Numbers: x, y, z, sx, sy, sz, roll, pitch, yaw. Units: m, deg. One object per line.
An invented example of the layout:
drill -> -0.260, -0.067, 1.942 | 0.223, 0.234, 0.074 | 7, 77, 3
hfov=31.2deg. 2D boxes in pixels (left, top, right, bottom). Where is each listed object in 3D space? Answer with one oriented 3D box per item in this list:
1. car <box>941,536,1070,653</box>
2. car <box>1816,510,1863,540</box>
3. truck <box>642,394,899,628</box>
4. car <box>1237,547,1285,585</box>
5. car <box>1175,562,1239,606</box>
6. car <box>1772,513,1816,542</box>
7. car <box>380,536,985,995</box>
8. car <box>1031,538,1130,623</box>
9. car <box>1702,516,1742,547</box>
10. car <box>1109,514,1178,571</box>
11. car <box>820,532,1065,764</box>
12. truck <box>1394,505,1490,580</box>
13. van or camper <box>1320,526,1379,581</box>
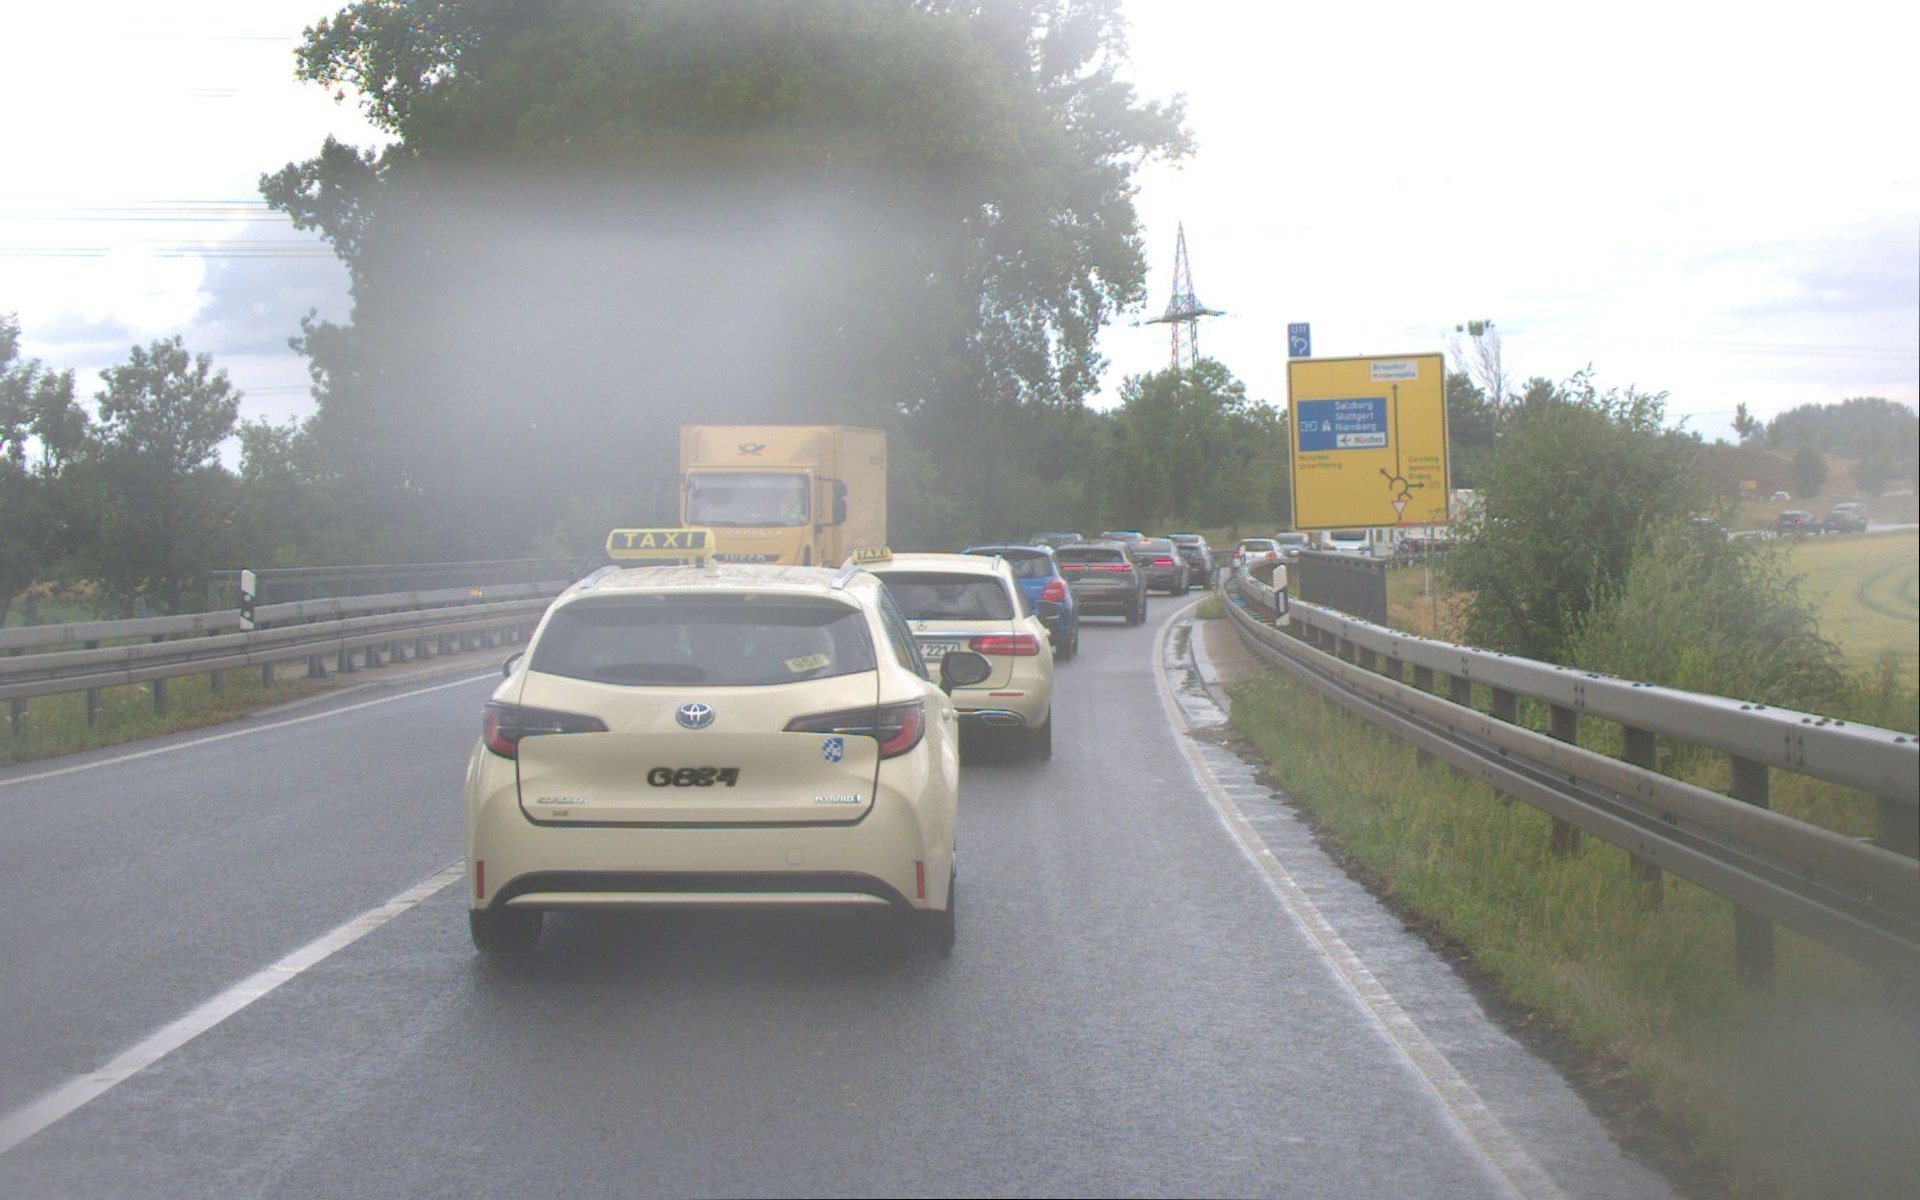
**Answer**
car -> 0.617, -0.091, 44.347 | 1.506, 1.432, 3.355 | 0, 1, 3
car -> 60.517, -5.160, 236.506 | 1.997, 2.007, 3.993 | 1, 0, 31
truck -> -2.959, -1.312, 56.623 | 2.771, 3.418, 9.184 | 1, -1, 6
car -> 10.535, -1.196, 120.221 | 1.483, 1.304, 3.476 | 0, 1, 8
car -> 7.385, -0.489, 102.695 | 1.483, 1.304, 3.475 | 0, 1, 11
car -> 55.808, -4.842, 229.963 | 1.822, 1.831, 3.982 | 1, 0, 30
car -> -0.921, 0.525, 13.621 | 1.906, 1.532, 4.161 | 0, 1, 2
car -> 2.162, -0.356, 61.065 | 1.665, 1.459, 3.476 | 0, 1, 4
car -> 47.420, -4.261, 213.877 | 1.922, 1.831, 3.996 | 1, 0, 20
car -> 4.788, -1.478, 89.343 | 1.660, 1.404, 3.903 | 0, 0, 5
car -> -0.064, 0.296, 25.156 | 1.578, 1.567, 3.681 | 0, 1, 3
truck -> 23.273, -2.745, 165.722 | 3.143, 3.550, 7.514 | 1, 0, 19
van or camper -> 16.215, -1.922, 143.056 | 1.995, 2.246, 3.998 | 1, 0, 13
